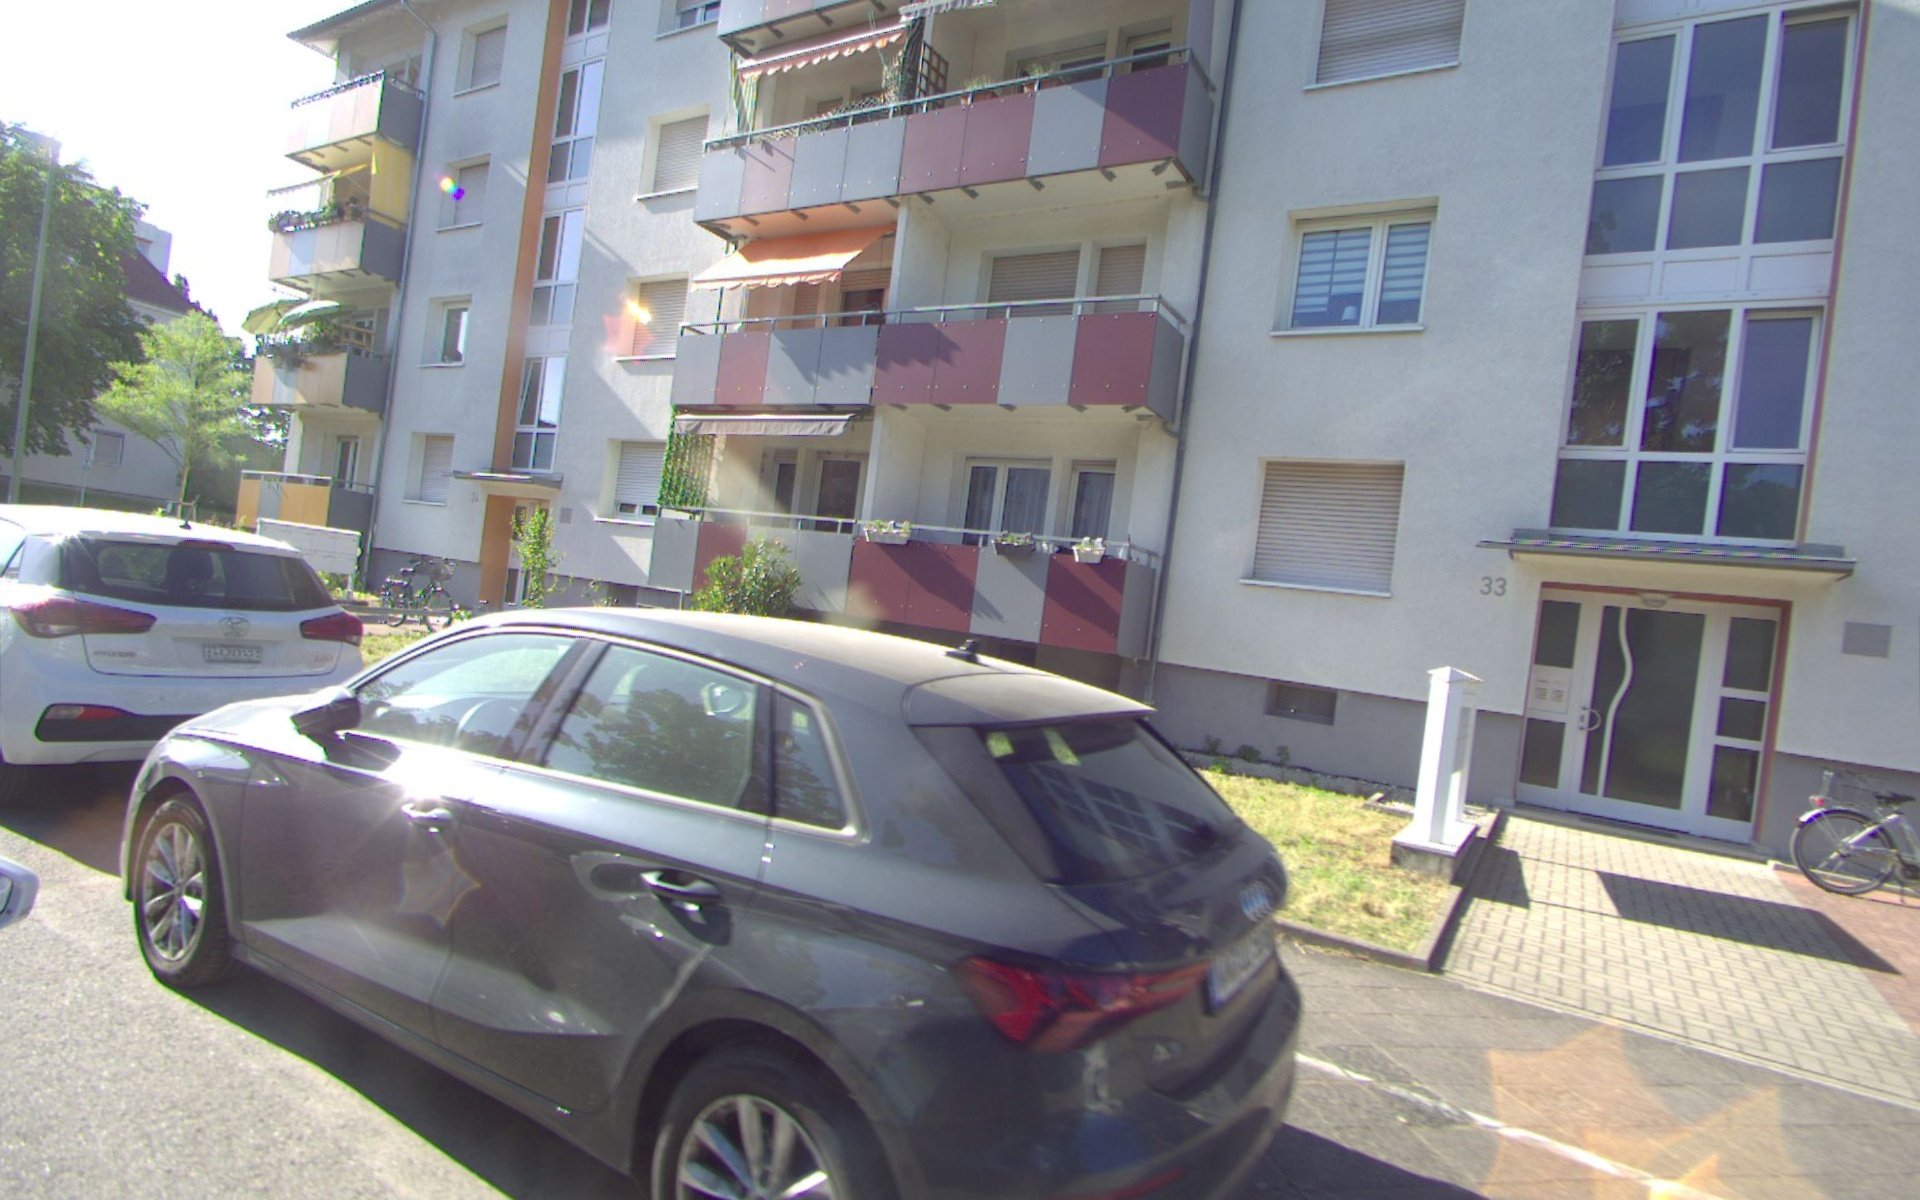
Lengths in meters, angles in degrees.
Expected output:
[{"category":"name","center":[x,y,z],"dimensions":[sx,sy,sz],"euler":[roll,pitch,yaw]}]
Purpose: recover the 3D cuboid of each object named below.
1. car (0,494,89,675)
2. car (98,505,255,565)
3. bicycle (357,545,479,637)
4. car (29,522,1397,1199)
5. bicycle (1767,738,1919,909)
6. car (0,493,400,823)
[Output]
[{"category":"car","center":[-9.942,-0.365,9.153],"dimensions":[4.072,1.493,1.880],"euler":[7,0,32]},{"category":"car","center":[-27.106,-2.206,34.947],"dimensions":[1.630,1.446,3.896],"euler":[7,-1,28]},{"category":"bicycle","center":[-8.167,-0.150,15.128],"dimensions":[1.980,1.190,0.597],"euler":[5,-1,31]},{"category":"car","center":[-1.098,0.706,3.350],"dimensions":[4.396,1.454,1.701],"euler":[7,1,31]},{"category":"bicycle","center":[7.400,1.759,7.511],"dimensions":[1.976,1.085,0.523],"euler":[7,2,31]},{"category":"car","center":[-5.534,0.129,6.272],"dimensions":[4.084,1.453,1.723],"euler":[7,0,32]}]
